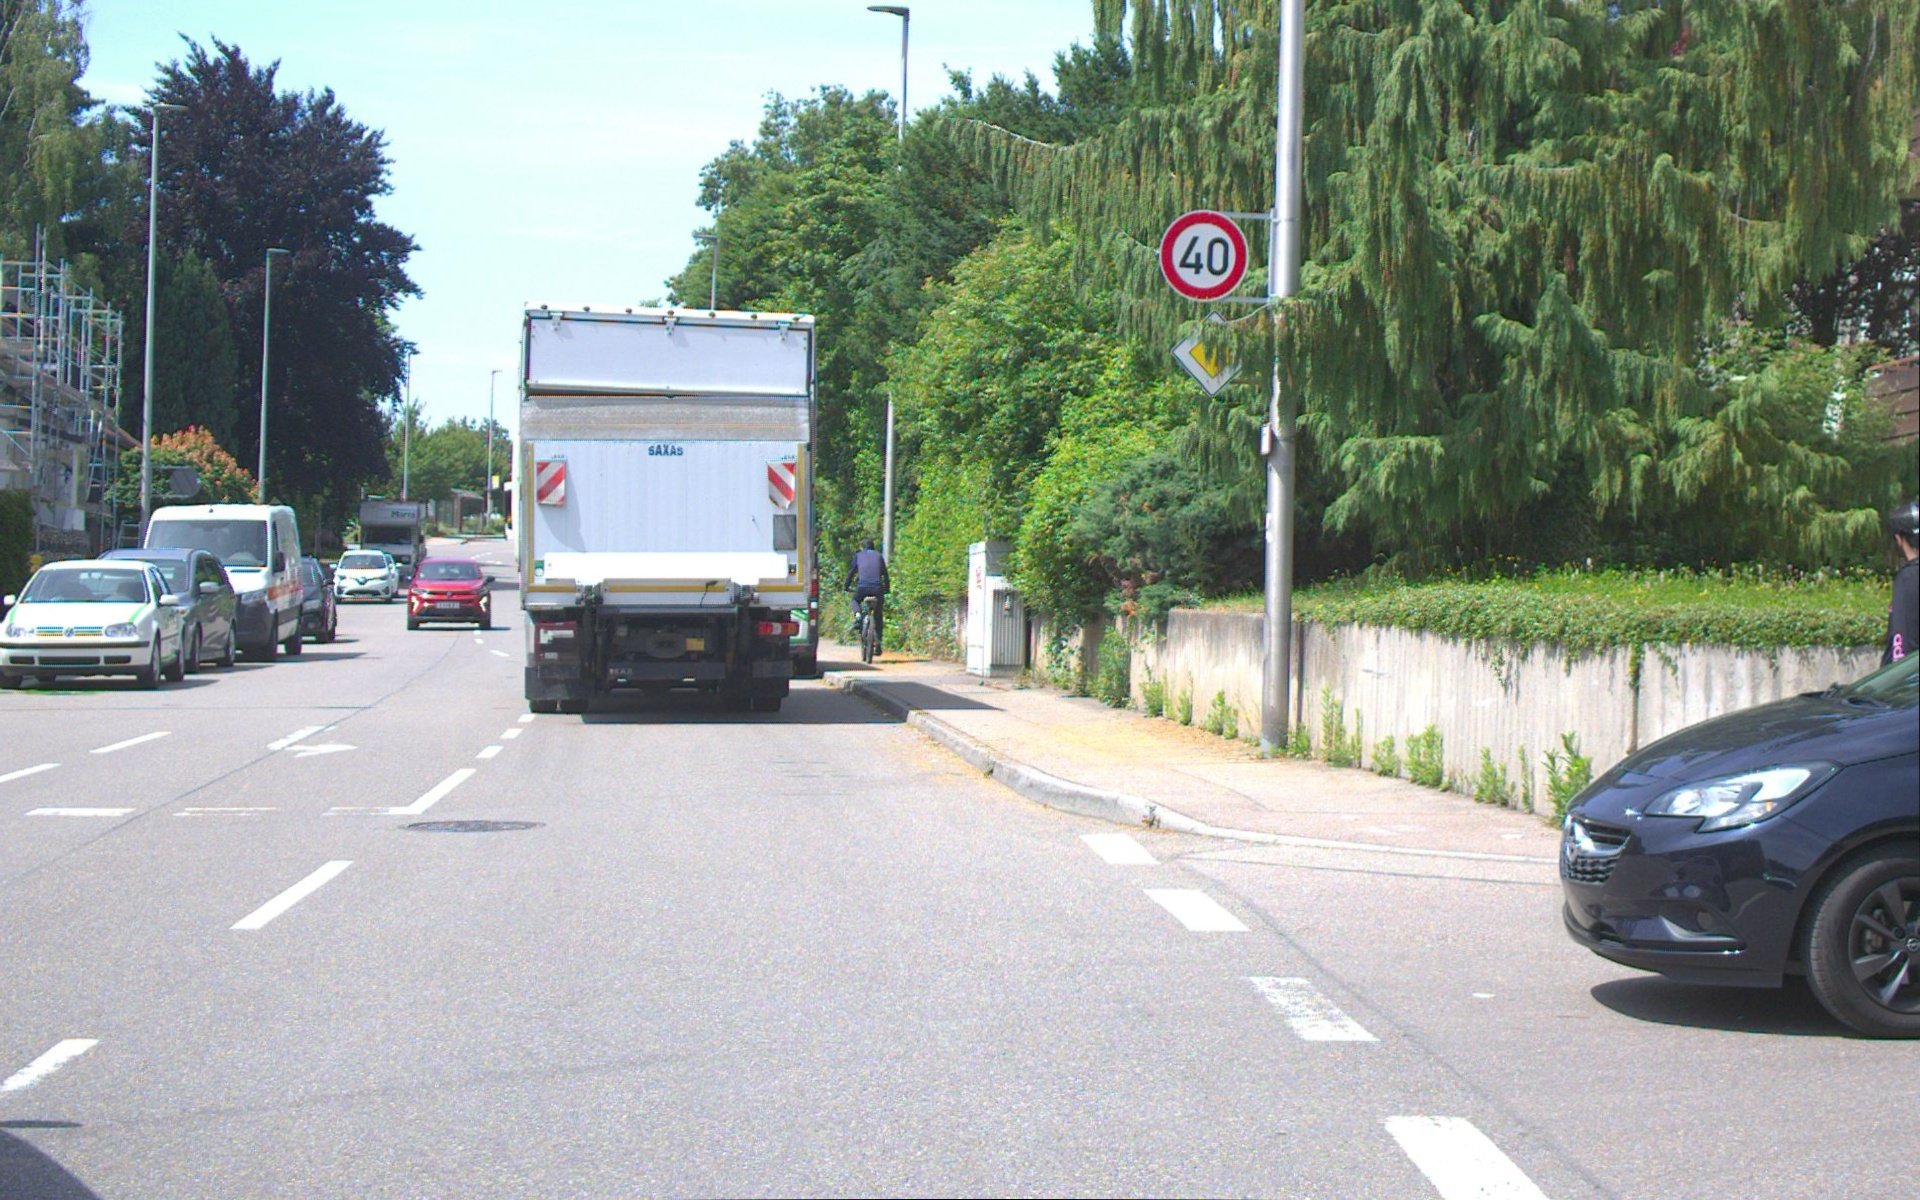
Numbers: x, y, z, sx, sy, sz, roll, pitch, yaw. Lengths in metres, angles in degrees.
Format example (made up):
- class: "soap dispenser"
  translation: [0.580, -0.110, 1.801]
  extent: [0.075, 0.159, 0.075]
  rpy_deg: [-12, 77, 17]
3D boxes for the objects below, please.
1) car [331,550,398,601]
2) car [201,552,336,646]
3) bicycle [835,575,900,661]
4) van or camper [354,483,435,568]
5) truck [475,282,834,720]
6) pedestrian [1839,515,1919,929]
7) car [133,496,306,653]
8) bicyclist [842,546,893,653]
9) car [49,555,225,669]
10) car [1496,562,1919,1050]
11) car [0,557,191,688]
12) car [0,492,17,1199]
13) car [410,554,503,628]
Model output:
- class: "car"
  translation: [-17.687, -0.734, 102.249]
  extent: [1.477, 1.489, 3.080]
  rpy_deg: [1, 0, -1]
- class: "car"
  translation: [-12.321, -0.046, 61.528]
  extent: [2.036, 1.589, 4.758]
  rpy_deg: [0, 1, -7]
- class: "bicycle"
  translation: [-1.259, 0.224, 46.292]
  extent: [0.668, 1.100, 2.426]
  rpy_deg: [1, 1, -6]
- class: "van or camper"
  translation: [-20.600, -2.702, 125.443]
  extent: [2.265, 2.952, 5.889]
  rpy_deg: [2, 1, -4]
- class: "truck"
  translation: [-3.086, -0.891, 33.601]
  extent: [3.068, 3.761, 7.869]
  rpy_deg: [0, 1, -7]
- class: "pedestrian"
  translation: [4.011, 0.492, 14.134]
  extent: [0.697, 1.666, 0.569]
  rpy_deg: [1, 1, 18]
- class: "car"
  translation: [-10.933, -0.400, 51.071]
  extent: [2.036, 2.192, 5.584]
  rpy_deg: [0, 1, -7]
- class: "bicyclist"
  translation: [-1.245, -0.011, 46.259]
  extent: [0.588, 1.408, 0.742]
  rpy_deg: [2, 1, -5]
- class: "car"
  translation: [-10.675, 0.125, 44.820]
  extent: [1.804, 1.393, 3.969]
  rpy_deg: [0, 1, -7]
- class: "car"
  translation: [3.858, 0.616, 11.172]
  extent: [3.933, 1.453, 1.659]
  rpy_deg: [0, 1, -1]
- class: "car"
  translation: [-9.853, 0.220, 39.092]
  extent: [1.804, 1.393, 4.001]
  rpy_deg: [0, 1, -7]
- class: "car"
  translation: [-3.490, 0.578, 7.821]
  extent: [1.724, 1.555, 4.000]
  rpy_deg: [0, 0, -29]
- class: "car"
  translation: [-11.053, -0.211, 75.654]
  extent: [1.833, 1.529, 4.001]
  rpy_deg: [2, 0, -6]
